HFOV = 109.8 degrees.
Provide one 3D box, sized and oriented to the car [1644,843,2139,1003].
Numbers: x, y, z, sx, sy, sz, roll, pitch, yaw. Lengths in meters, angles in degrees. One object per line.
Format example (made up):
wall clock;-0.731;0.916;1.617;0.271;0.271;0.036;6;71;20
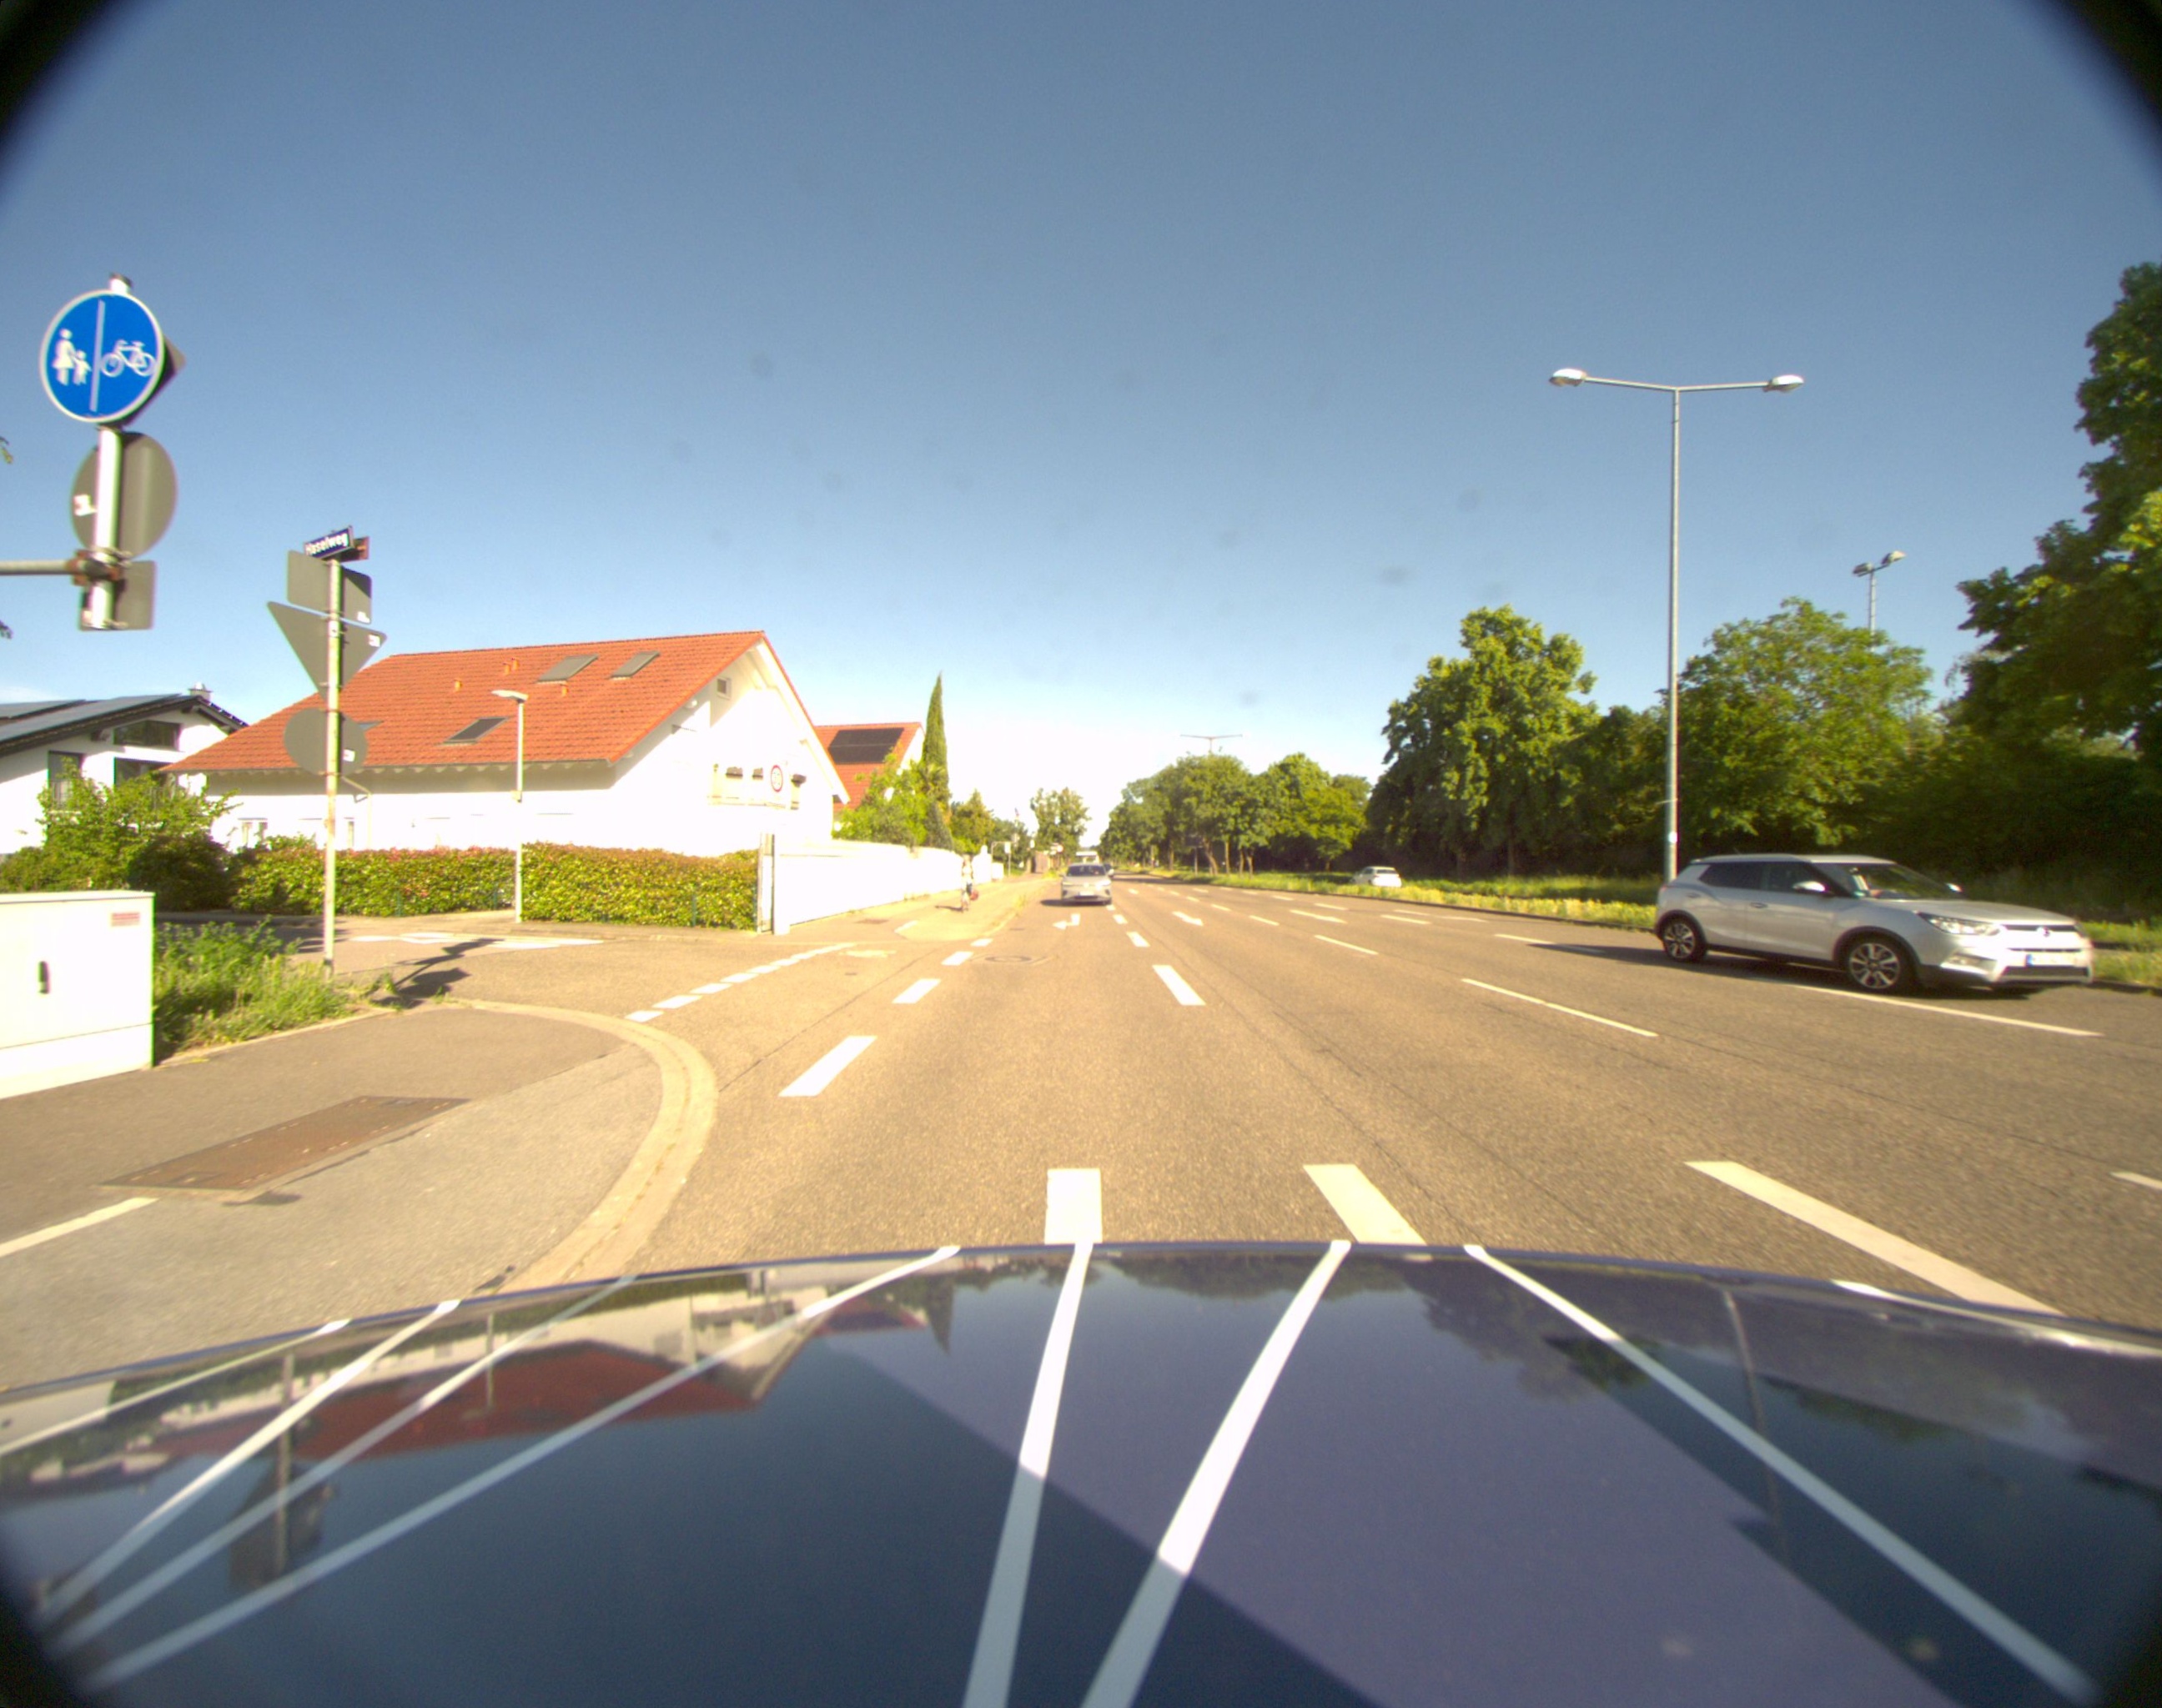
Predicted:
car;9.688;0.691;9.688;1.789;1.600;4.104;0;0;-4

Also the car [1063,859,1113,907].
car;0.250;1.050;29.380;1.766;1.606;4.297;-2;0;0

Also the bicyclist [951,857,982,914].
bicyclist;-3.405;0.930;22.681;0.631;1.623;0.982;3;0;3

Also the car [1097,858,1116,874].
car;2.655;1.212;80.050;1.766;1.606;4.297;-1;0;0

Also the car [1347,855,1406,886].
car;18.247;1.002;47.112;1.917;1.693;4.407;-2;1;0

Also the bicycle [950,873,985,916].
bicycle;-3.378;1.183;22.766;0.575;1.148;2.141;3;0;3
